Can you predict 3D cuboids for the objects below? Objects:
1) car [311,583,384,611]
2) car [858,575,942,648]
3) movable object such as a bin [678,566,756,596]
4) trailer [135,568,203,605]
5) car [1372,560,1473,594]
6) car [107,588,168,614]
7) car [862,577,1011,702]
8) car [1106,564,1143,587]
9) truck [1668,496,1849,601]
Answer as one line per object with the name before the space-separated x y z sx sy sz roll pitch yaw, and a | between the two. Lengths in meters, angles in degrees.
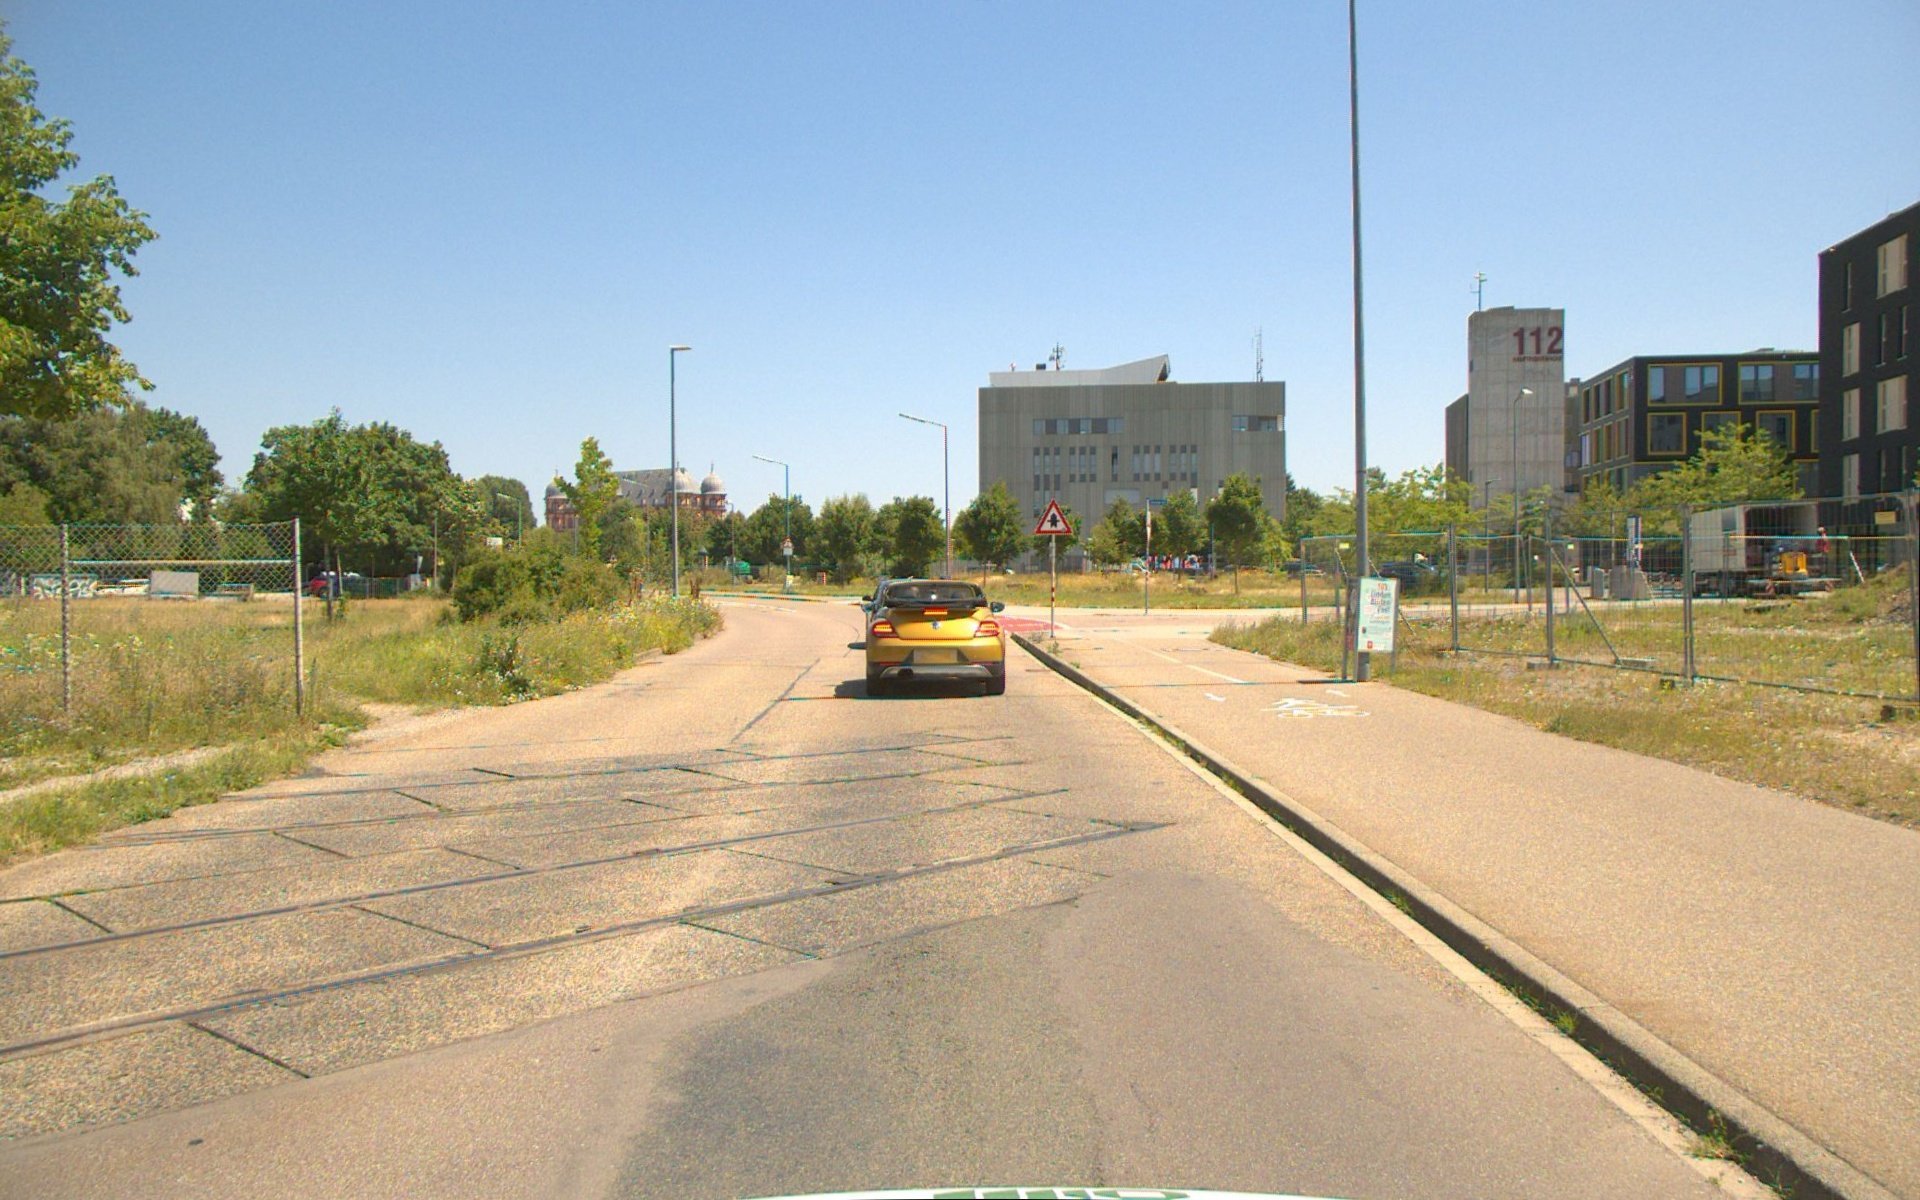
car | -43.631 -0.249 117.799 4.762 1.872 1.984 -1 1 -26
car | -1.272 0.208 35.854 1.692 1.468 3.999 -1 1 -1
movable object such as a bin | -28.144 -2.173 191.137 4.898 3.317 10.341 -1 1 -35
trailer | -45.739 -0.801 95.627 3.381 2.081 1.741 -1 1 -32
car | 22.121 -1.108 79.229 4.398 1.589 2.034 0 1 7
car | -51.521 0.054 103.601 3.300 1.604 1.754 -1 1 -31
car | -0.308 0.444 21.602 1.753 1.461 3.813 -1 1 -1
car | 17.709 -2.624 177.810 3.760 2.334 1.744 -1 0 9
truck | 30.376 -1.880 63.595 2.944 3.522 12.150 -2 0 10
